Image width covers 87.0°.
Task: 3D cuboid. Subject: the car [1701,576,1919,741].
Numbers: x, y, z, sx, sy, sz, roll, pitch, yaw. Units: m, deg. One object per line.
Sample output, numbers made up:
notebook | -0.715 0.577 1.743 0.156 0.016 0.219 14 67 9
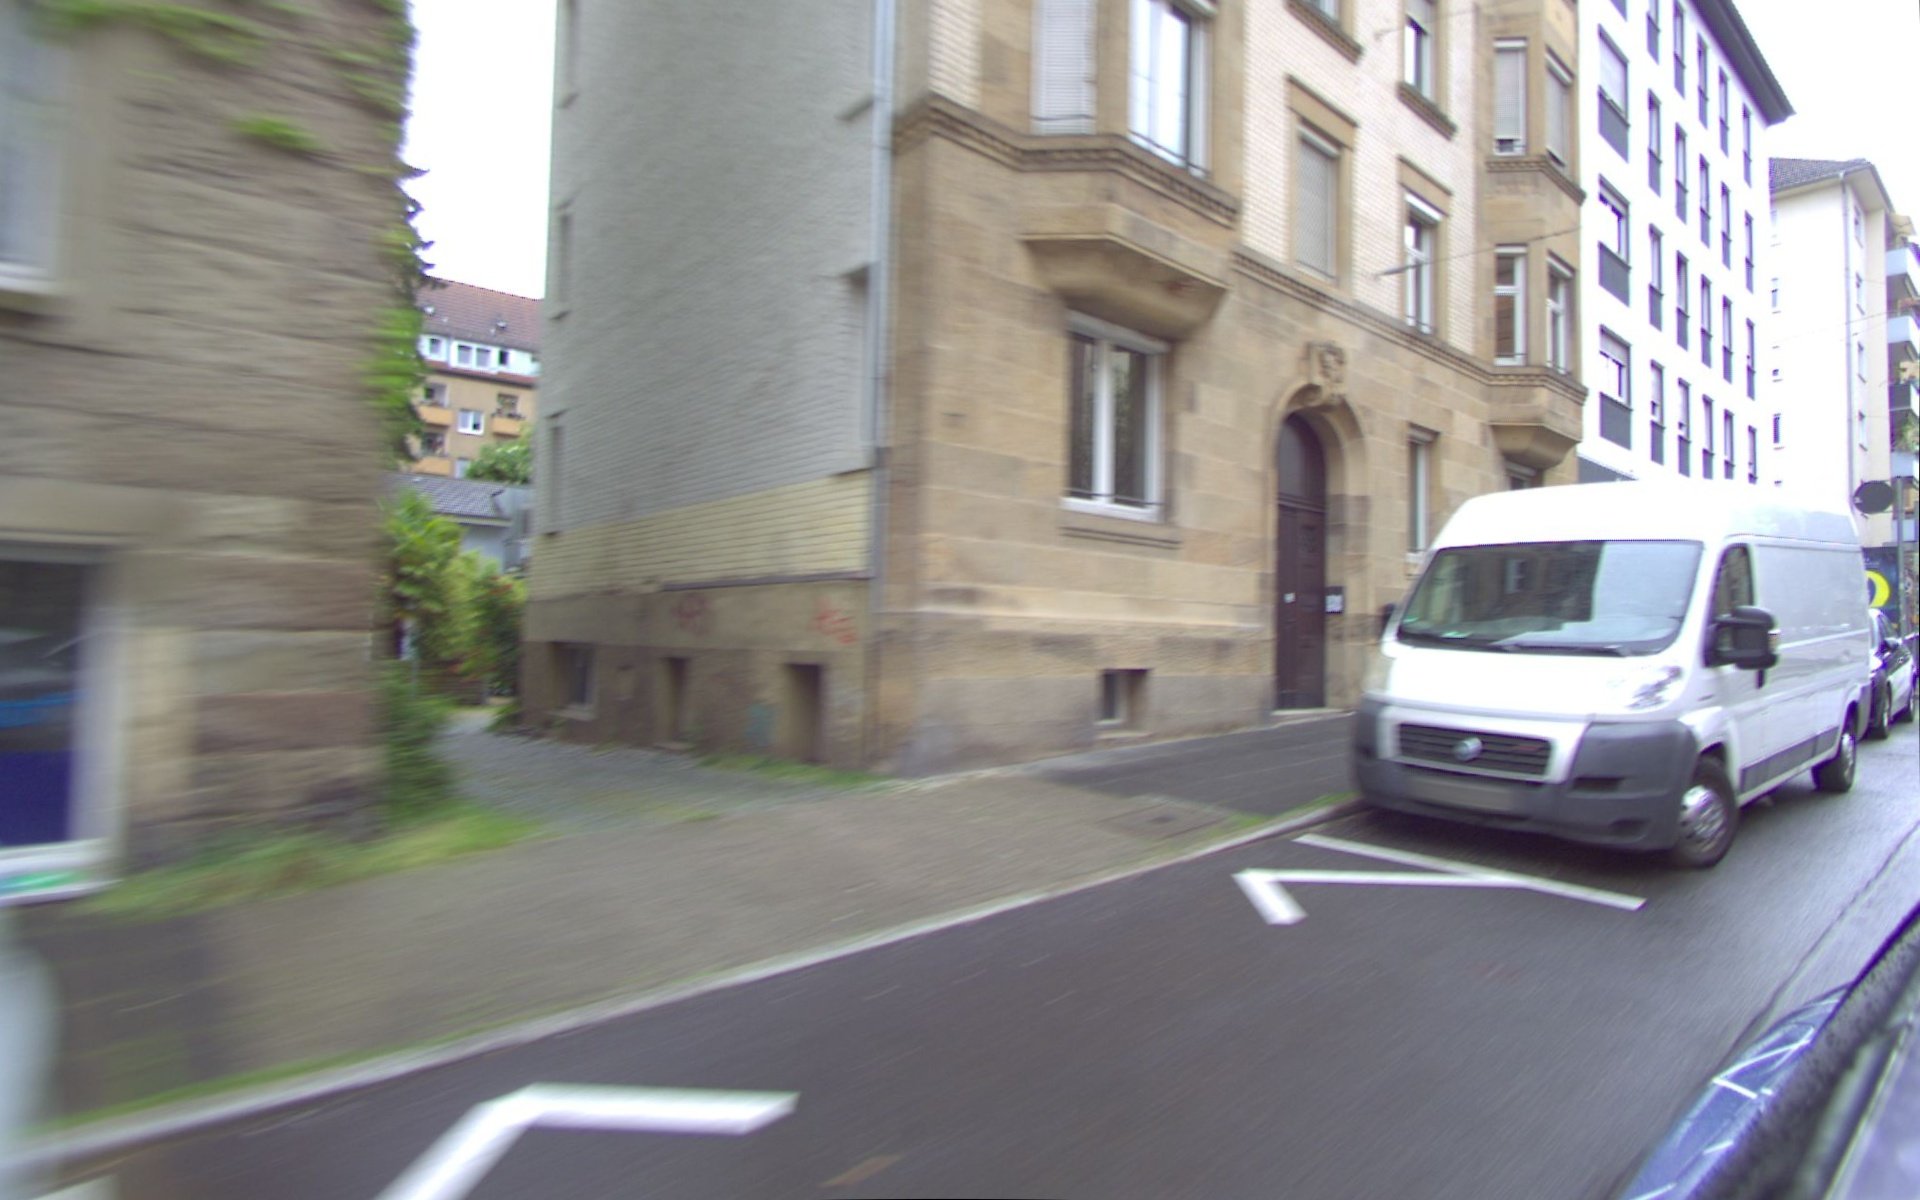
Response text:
car | 11.498 0.658 13.370 4.403 1.831 1.771 0 -1 -41

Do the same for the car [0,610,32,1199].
car | -3.238 0.728 0.565 3.930 1.429 1.678 1 0 -41

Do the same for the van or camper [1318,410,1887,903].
van or camper | 5.334 0.258 7.891 6.011 2.500 2.068 -1 0 -41
